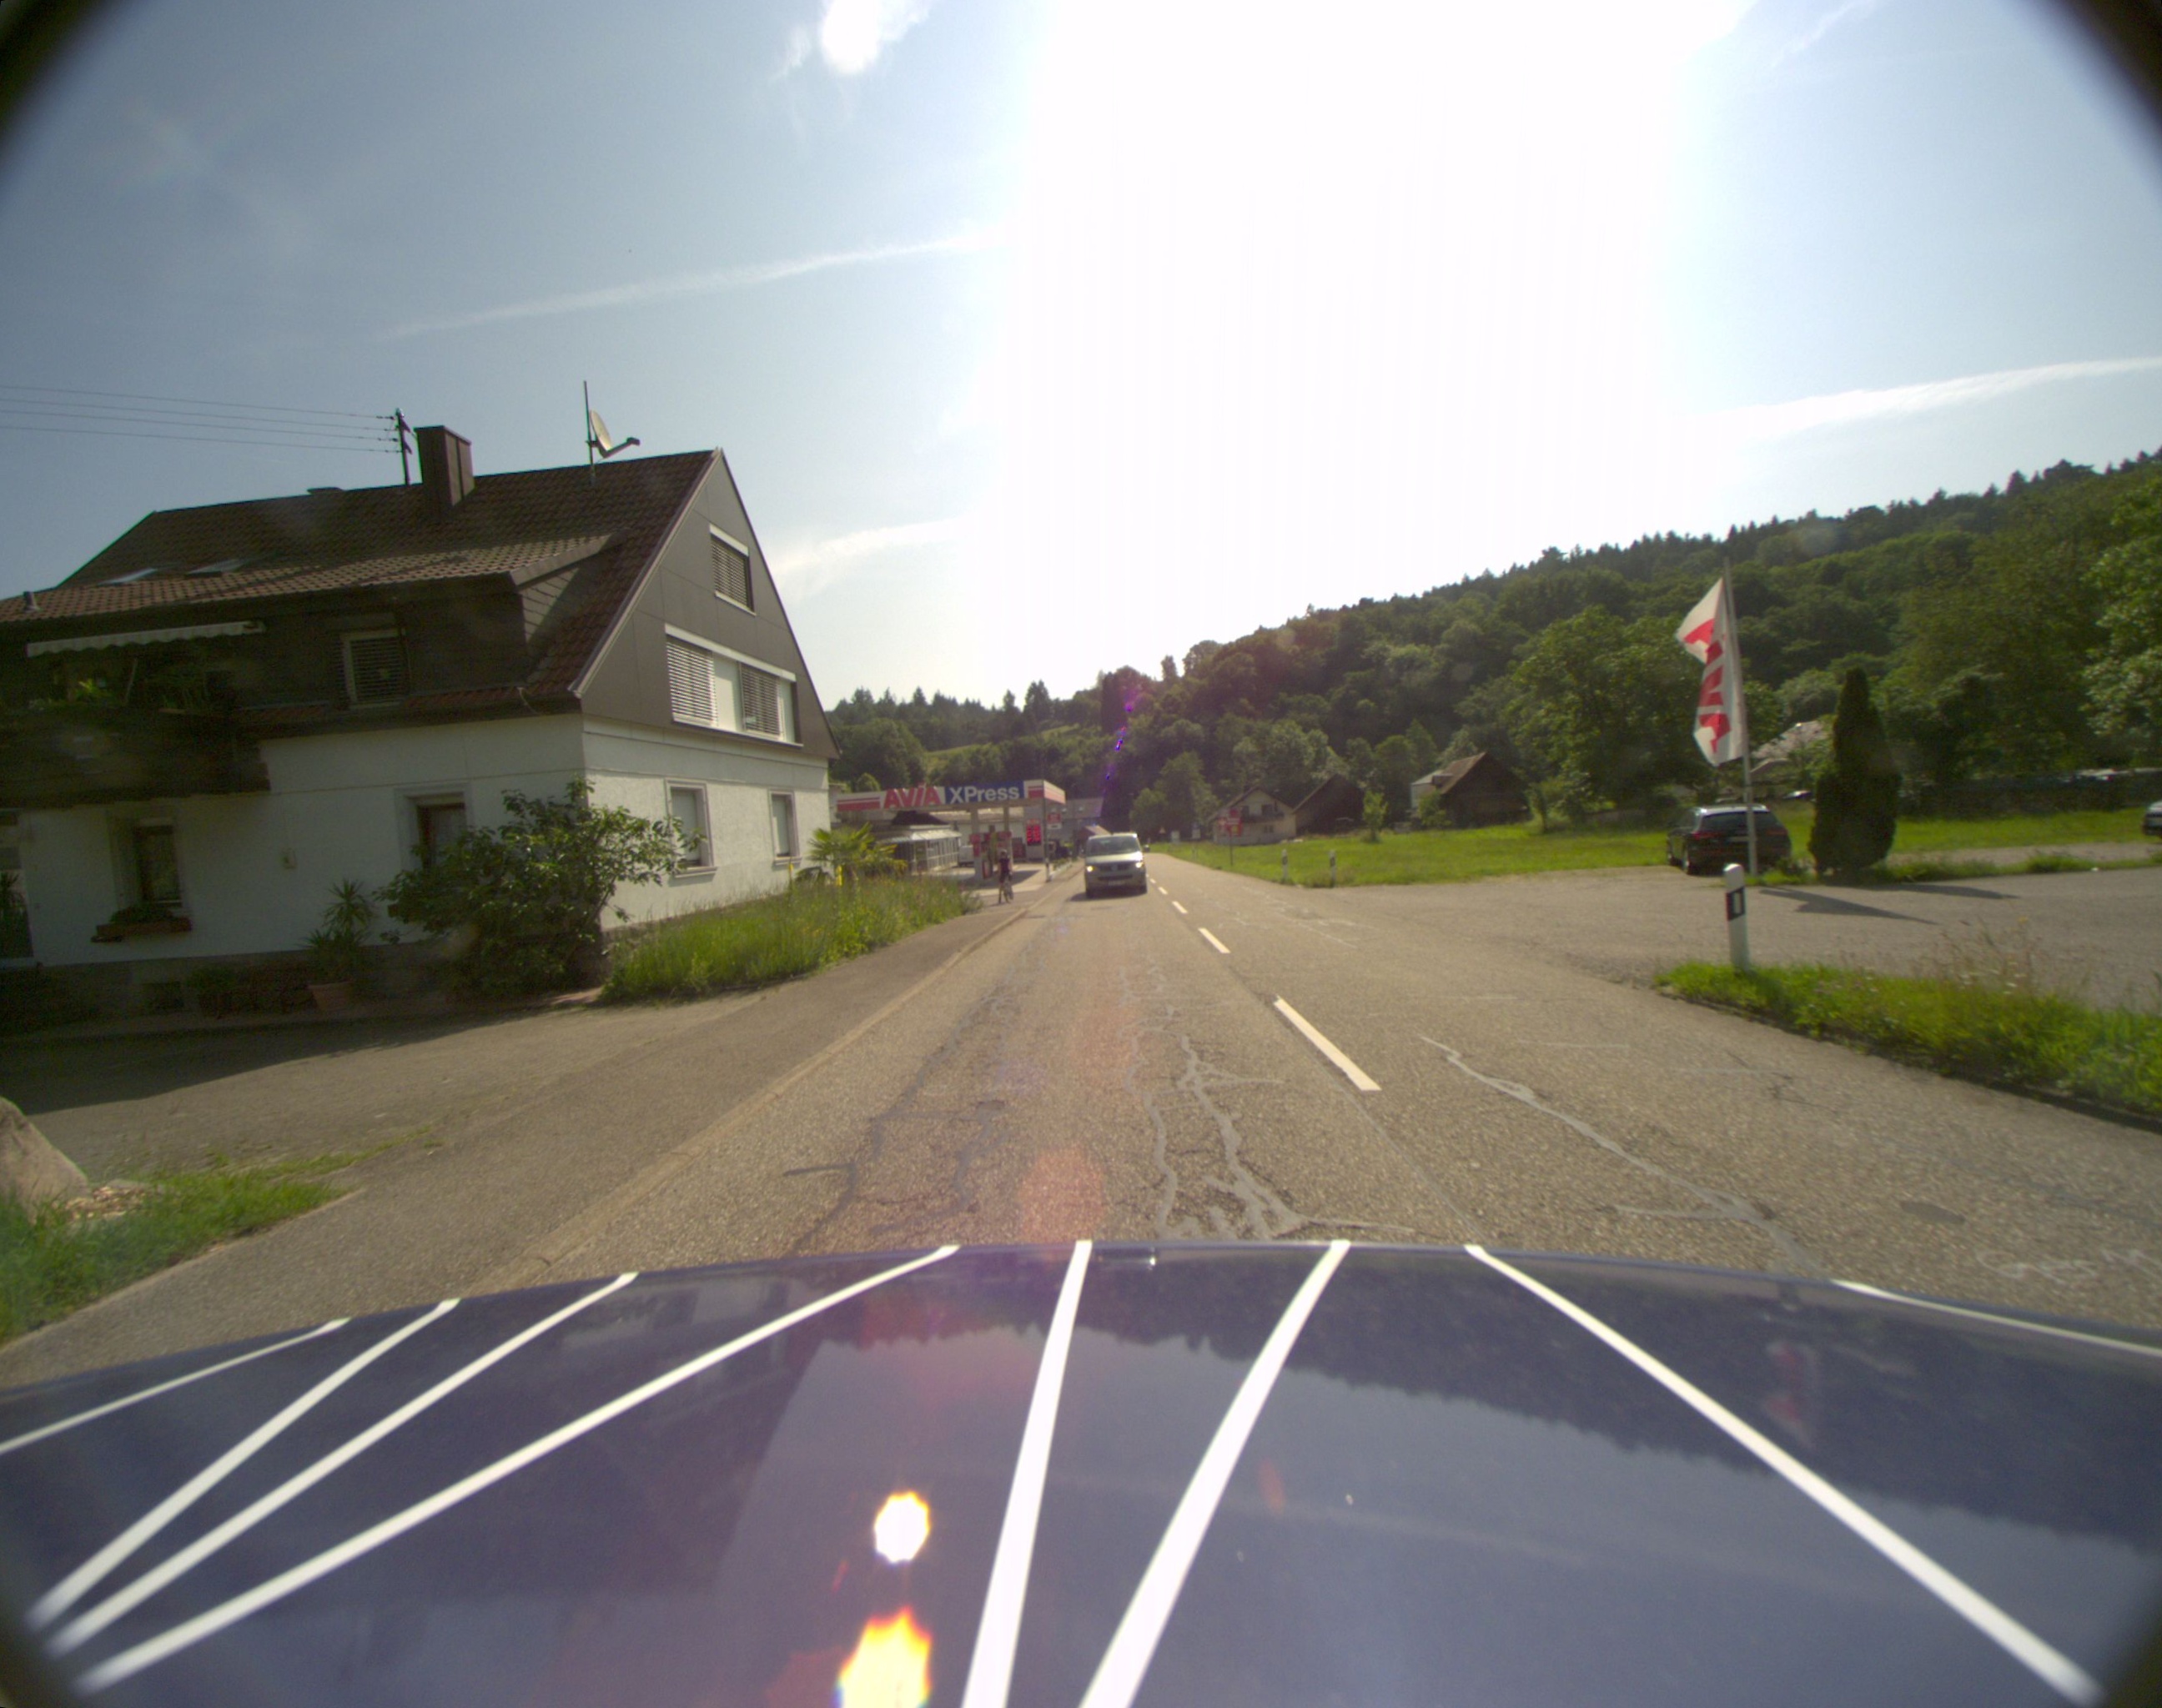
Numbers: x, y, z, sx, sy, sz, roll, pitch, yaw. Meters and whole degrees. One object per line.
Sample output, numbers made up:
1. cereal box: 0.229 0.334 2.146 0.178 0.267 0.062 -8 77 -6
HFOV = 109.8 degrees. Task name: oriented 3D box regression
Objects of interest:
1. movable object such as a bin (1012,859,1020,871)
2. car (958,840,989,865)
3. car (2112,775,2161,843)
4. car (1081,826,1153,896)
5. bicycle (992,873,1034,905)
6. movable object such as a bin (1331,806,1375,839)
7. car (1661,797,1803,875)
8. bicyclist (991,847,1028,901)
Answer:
1. movable object such as a bin: -4.650 0.767 54.353 0.480 0.840 0.528 -5 1 1
2. car: -9.086 -0.127 64.548 1.684 1.806 3.999 -6 2 2
3. car: 25.636 -1.118 16.162 3.924 1.476 1.920 -4 1 24
4. car: 1.115 0.174 24.787 2.023 1.970 5.048 -3 1 2
5. bicycle: -2.205 1.140 24.361 0.691 0.912 1.947 -7 -1 -23
6. movable object such as a bin: 29.021 -3.344 81.143 4.185 3.120 2.204 -4 1 17
7. car: 16.299 -0.489 19.312 1.832 1.639 4.916 -4 1 31
8. bicyclist: -2.305 0.662 24.465 0.691 1.623 1.139 -7 0 -23
